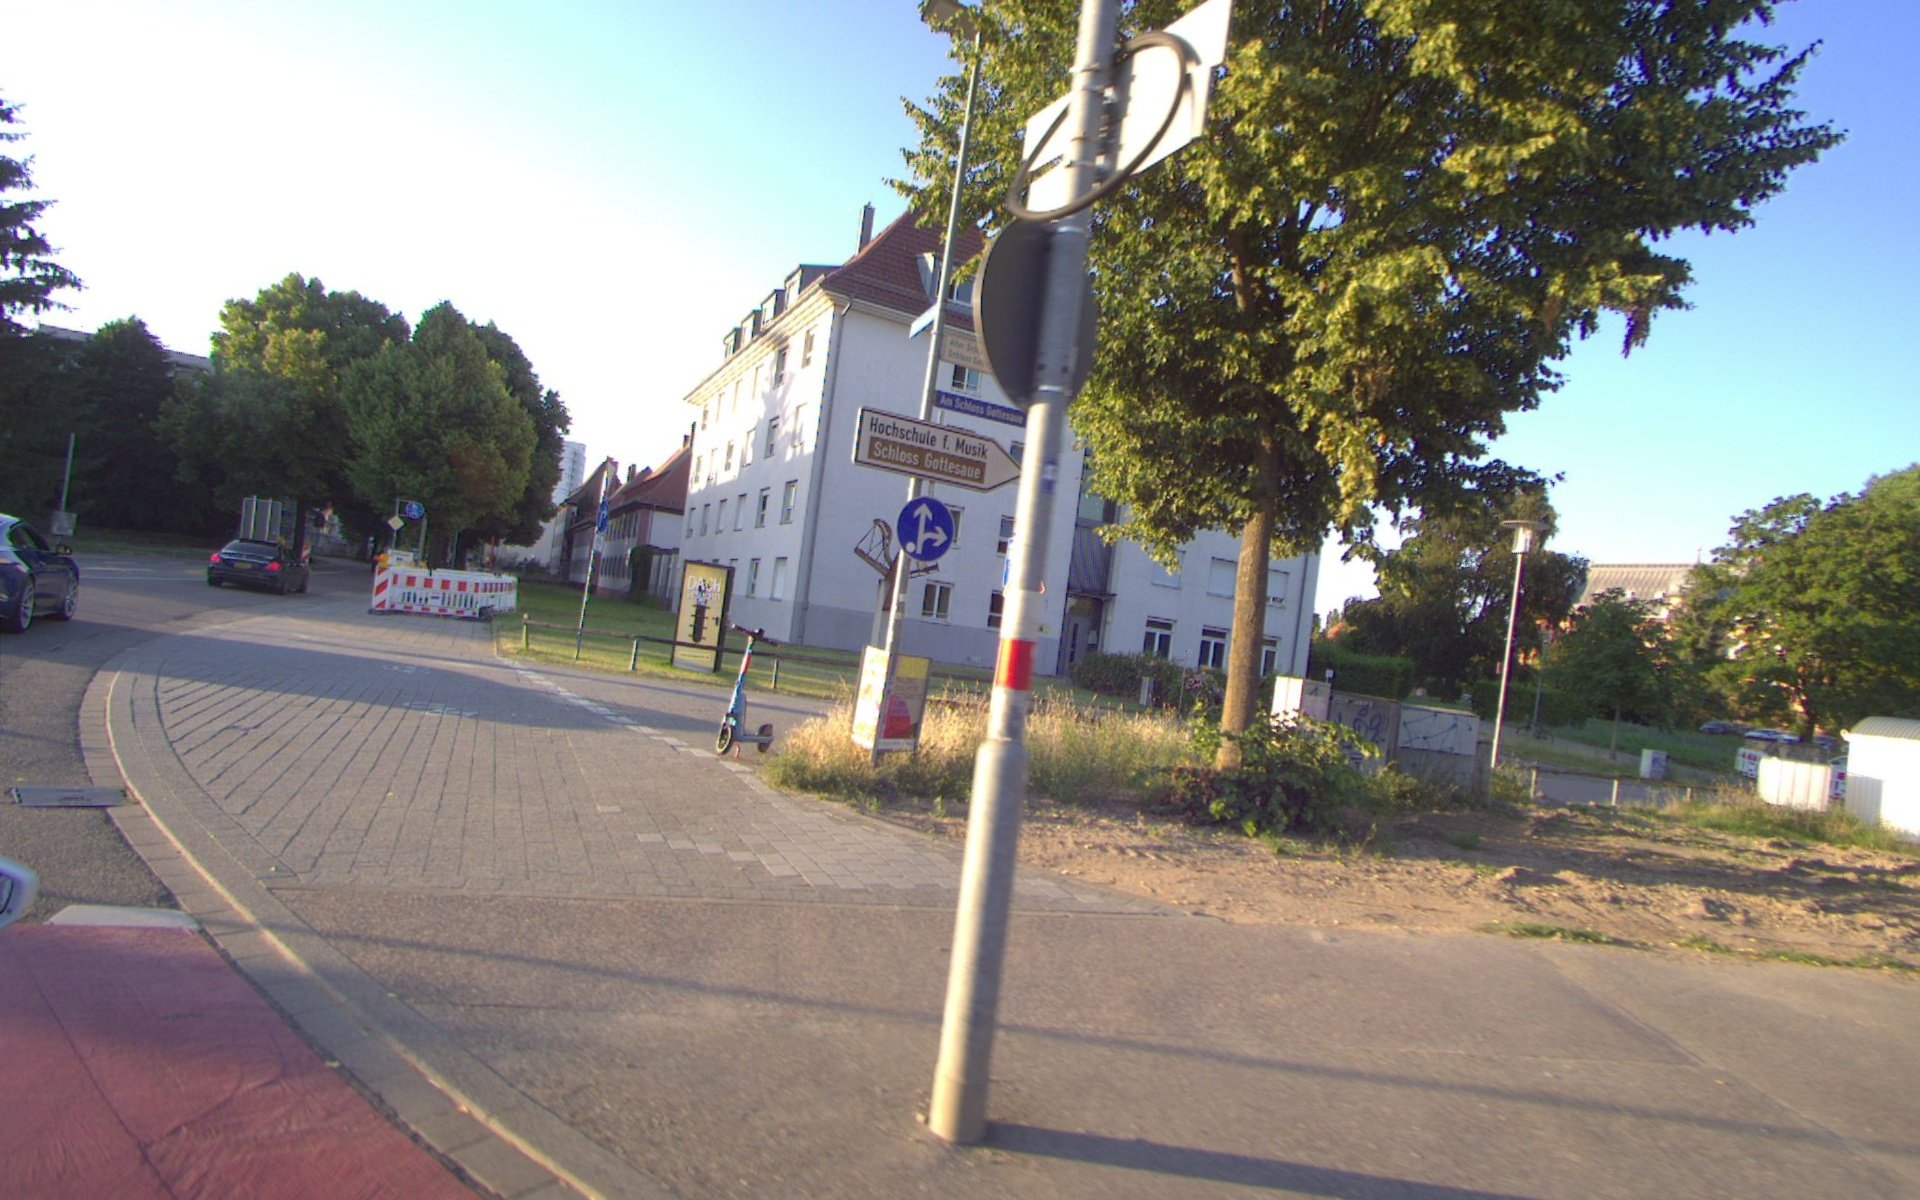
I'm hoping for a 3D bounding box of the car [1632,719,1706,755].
[{"bbox_3d":[40.505,7.843,57.461,3.788,1.503,1.881,9,-2,-29],"label":"car"}]

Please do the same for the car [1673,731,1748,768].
[{"bbox_3d":[41.434,8.235,55.524,3.788,1.503,1.881,9,-2,-29],"label":"car"}]

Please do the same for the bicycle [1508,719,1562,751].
[{"bbox_3d":[22.606,5.307,39.554,0.400,0.890,1.836,8,0,-26],"label":"bicycle"}]

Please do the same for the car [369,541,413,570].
[{"bbox_3d":[-37.955,-2.978,67.211,1.934,1.589,4.403,10,-1,-24],"label":"car"}]

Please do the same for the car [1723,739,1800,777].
[{"bbox_3d":[43.123,8.485,54.113,3.788,1.503,1.881,9,-2,-29],"label":"car"}]

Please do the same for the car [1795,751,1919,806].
[{"bbox_3d":[37.123,7.312,41.268,1.876,1.503,3.967,9,-2,-32],"label":"car"}]

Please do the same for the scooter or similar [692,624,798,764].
[{"bbox_3d":[-2.095,0.912,9.930,0.434,1.252,1.125,8,-1,13],"label":"scooter or similar"}]

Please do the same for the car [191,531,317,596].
[{"bbox_3d":[-20.478,-1.020,29.386,1.933,1.442,4.408,10,-3,-23],"label":"car"}]

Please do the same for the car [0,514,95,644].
[{"bbox_3d":[-12.158,-0.432,12.091,1.940,1.357,4.630,9,-3,-33],"label":"car"}]
